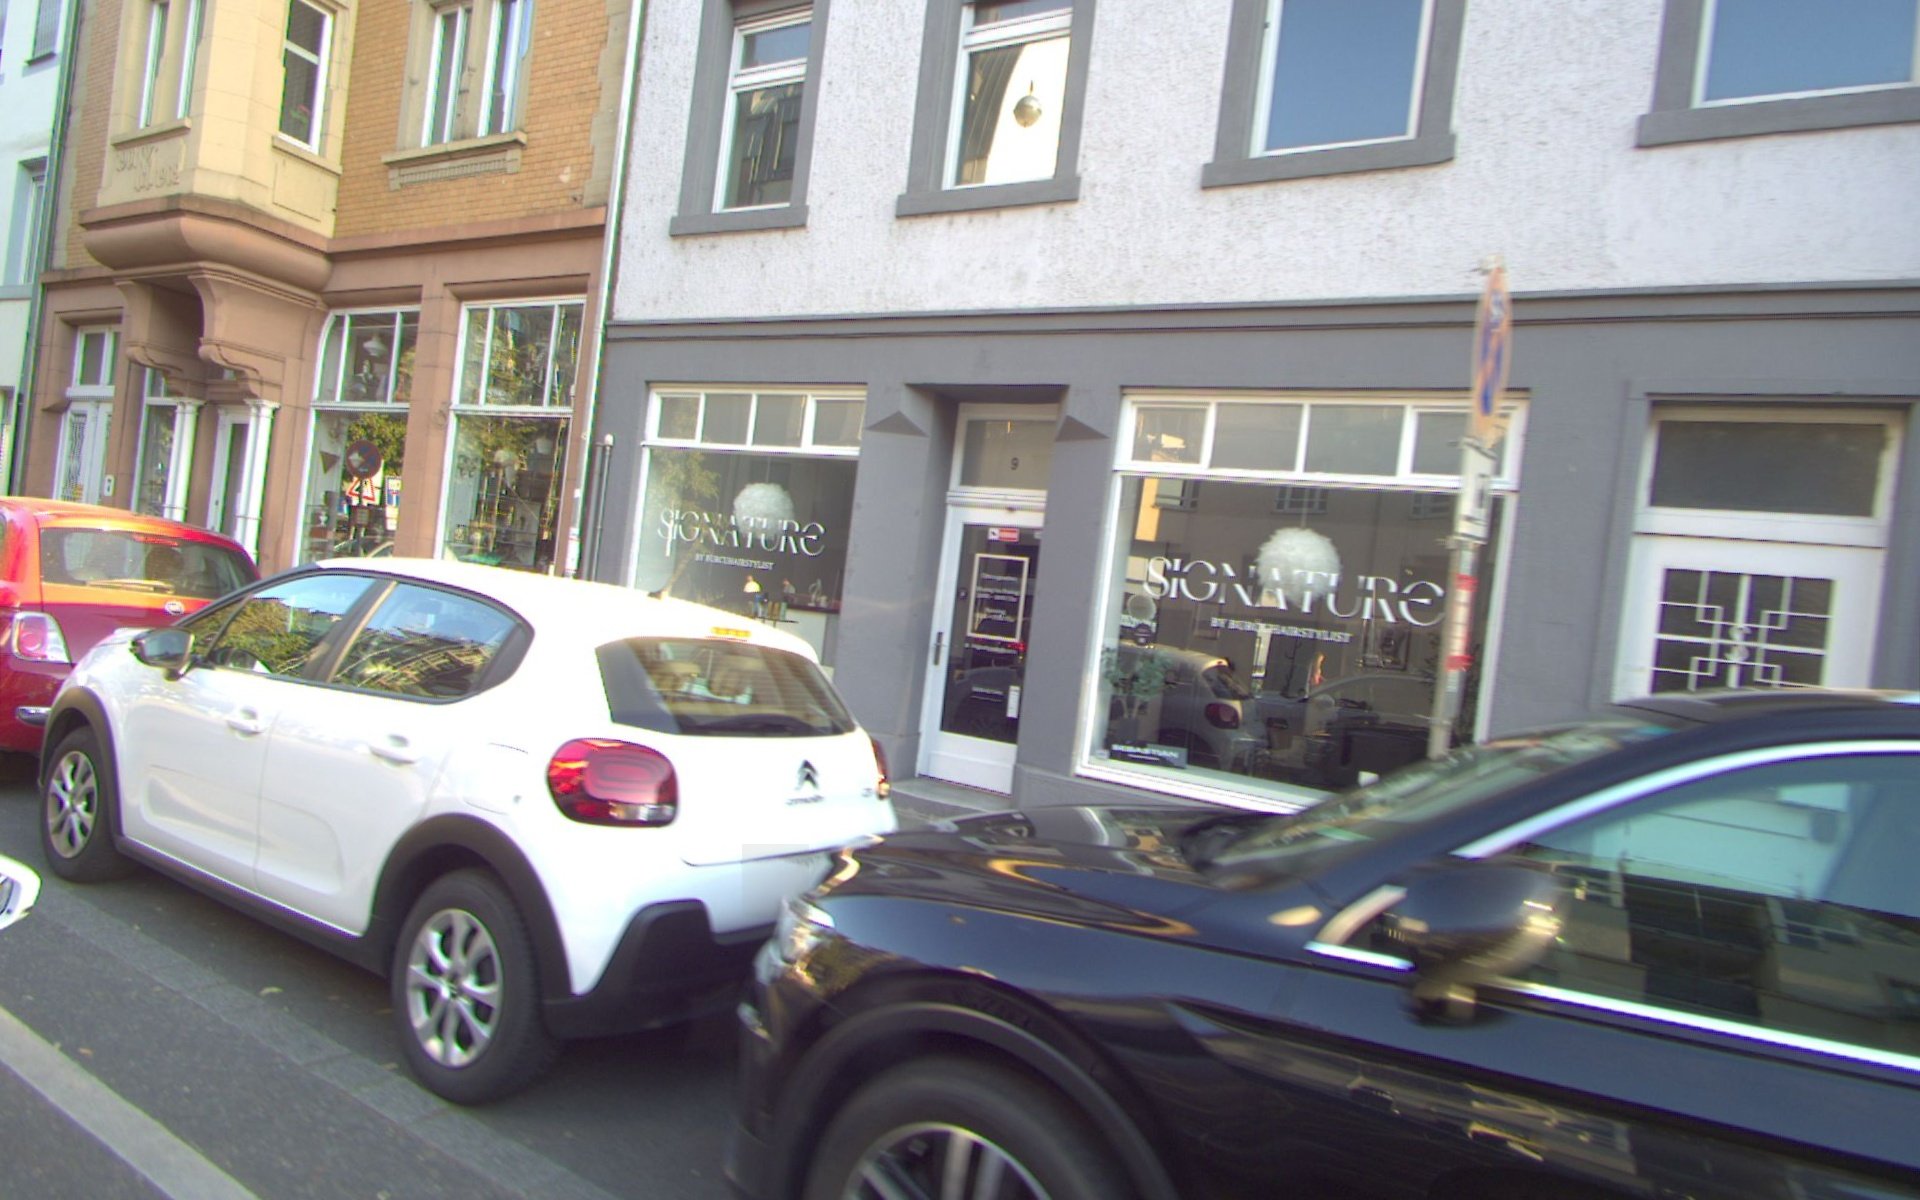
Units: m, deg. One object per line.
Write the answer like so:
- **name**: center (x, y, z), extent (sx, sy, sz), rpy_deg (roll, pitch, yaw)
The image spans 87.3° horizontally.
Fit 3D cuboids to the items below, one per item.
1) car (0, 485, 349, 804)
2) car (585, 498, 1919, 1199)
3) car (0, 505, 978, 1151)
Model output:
- **car**: center (-5.537, 0.140, 6.185), extent (3.211, 1.501, 1.591), rpy_deg (6, -2, 31)
- **car**: center (1.503, 0.905, 1.928), extent (4.134, 1.687, 1.816), rpy_deg (6, -2, 29)
- **car**: center (-2.026, 0.547, 4.097), extent (3.737, 1.394, 1.671), rpy_deg (6, -2, 29)
